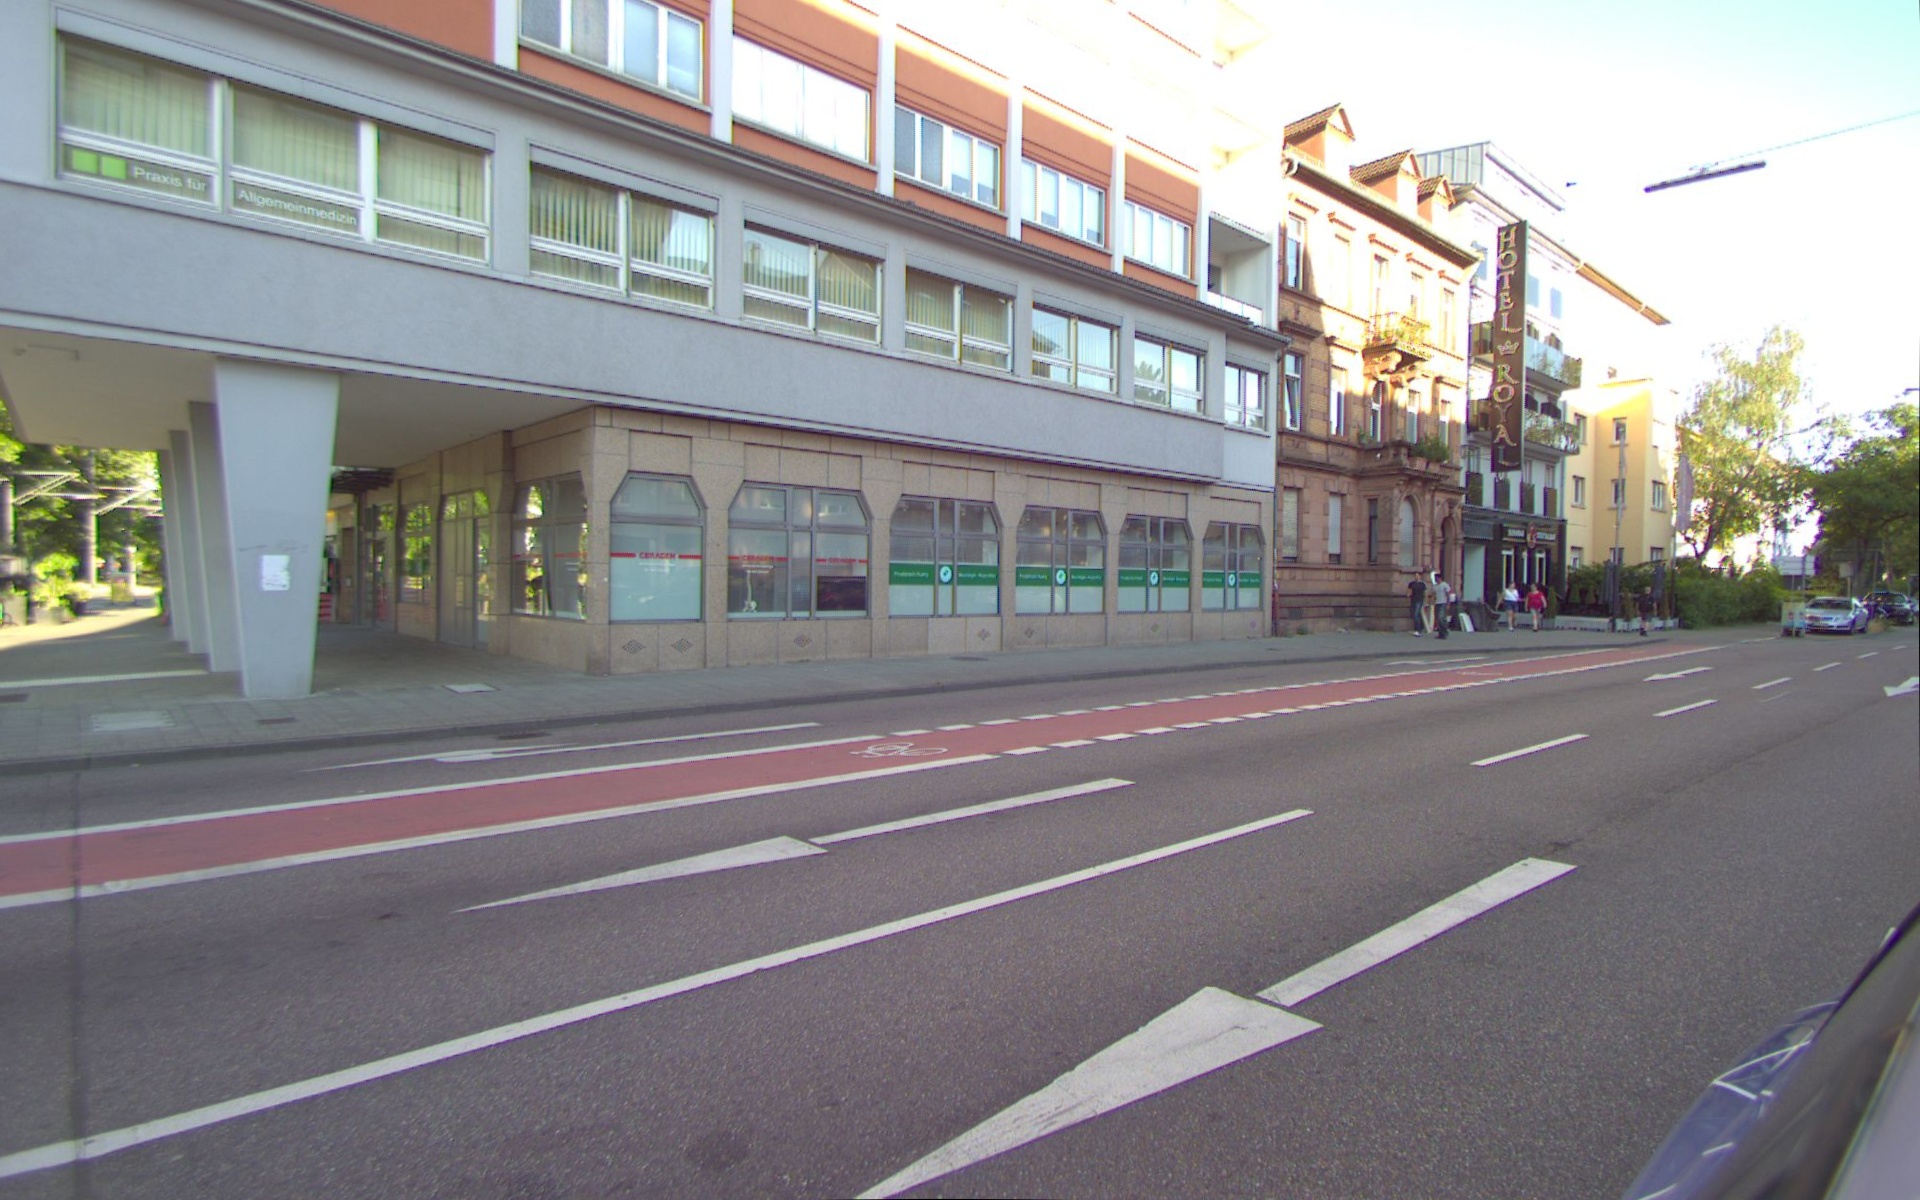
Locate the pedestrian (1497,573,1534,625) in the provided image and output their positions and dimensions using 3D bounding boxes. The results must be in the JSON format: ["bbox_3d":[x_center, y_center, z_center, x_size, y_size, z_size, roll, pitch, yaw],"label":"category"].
[{"bbox_3d":[18.690,-0.048,34.059,0.777,1.606,1.006,4,4,17],"label":"pedestrian"}]

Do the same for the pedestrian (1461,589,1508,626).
[{"bbox_3d":[16.933,0.216,32.696,0.909,1.150,1.099,0,1,-43],"label":"pedestrian"}]

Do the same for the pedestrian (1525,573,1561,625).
[{"bbox_3d":[19.431,-0.043,33.732,0.729,1.606,1.005,4,4,18],"label":"pedestrian"}]

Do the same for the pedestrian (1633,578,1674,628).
[{"bbox_3d":[23.140,0.089,33.768,0.992,1.621,0.739,0,4,-37],"label":"pedestrian"}]

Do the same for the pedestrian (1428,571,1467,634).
[{"bbox_3d":[13.893,0.056,28.847,0.994,1.747,0.667,0,1,-42],"label":"pedestrian"}]

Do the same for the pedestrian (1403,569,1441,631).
[{"bbox_3d":[13.428,-0.010,29.424,0.994,1.747,0.667,0,1,-44],"label":"pedestrian"}]

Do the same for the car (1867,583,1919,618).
[{"bbox_3d":[47.570,0.001,51.282,4.121,1.645,1.946,0,1,-42],"label":"car"}]

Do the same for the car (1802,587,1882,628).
[{"bbox_3d":[35.851,0.272,41.103,4.003,1.536,1.905,0,1,-41],"label":"car"}]
